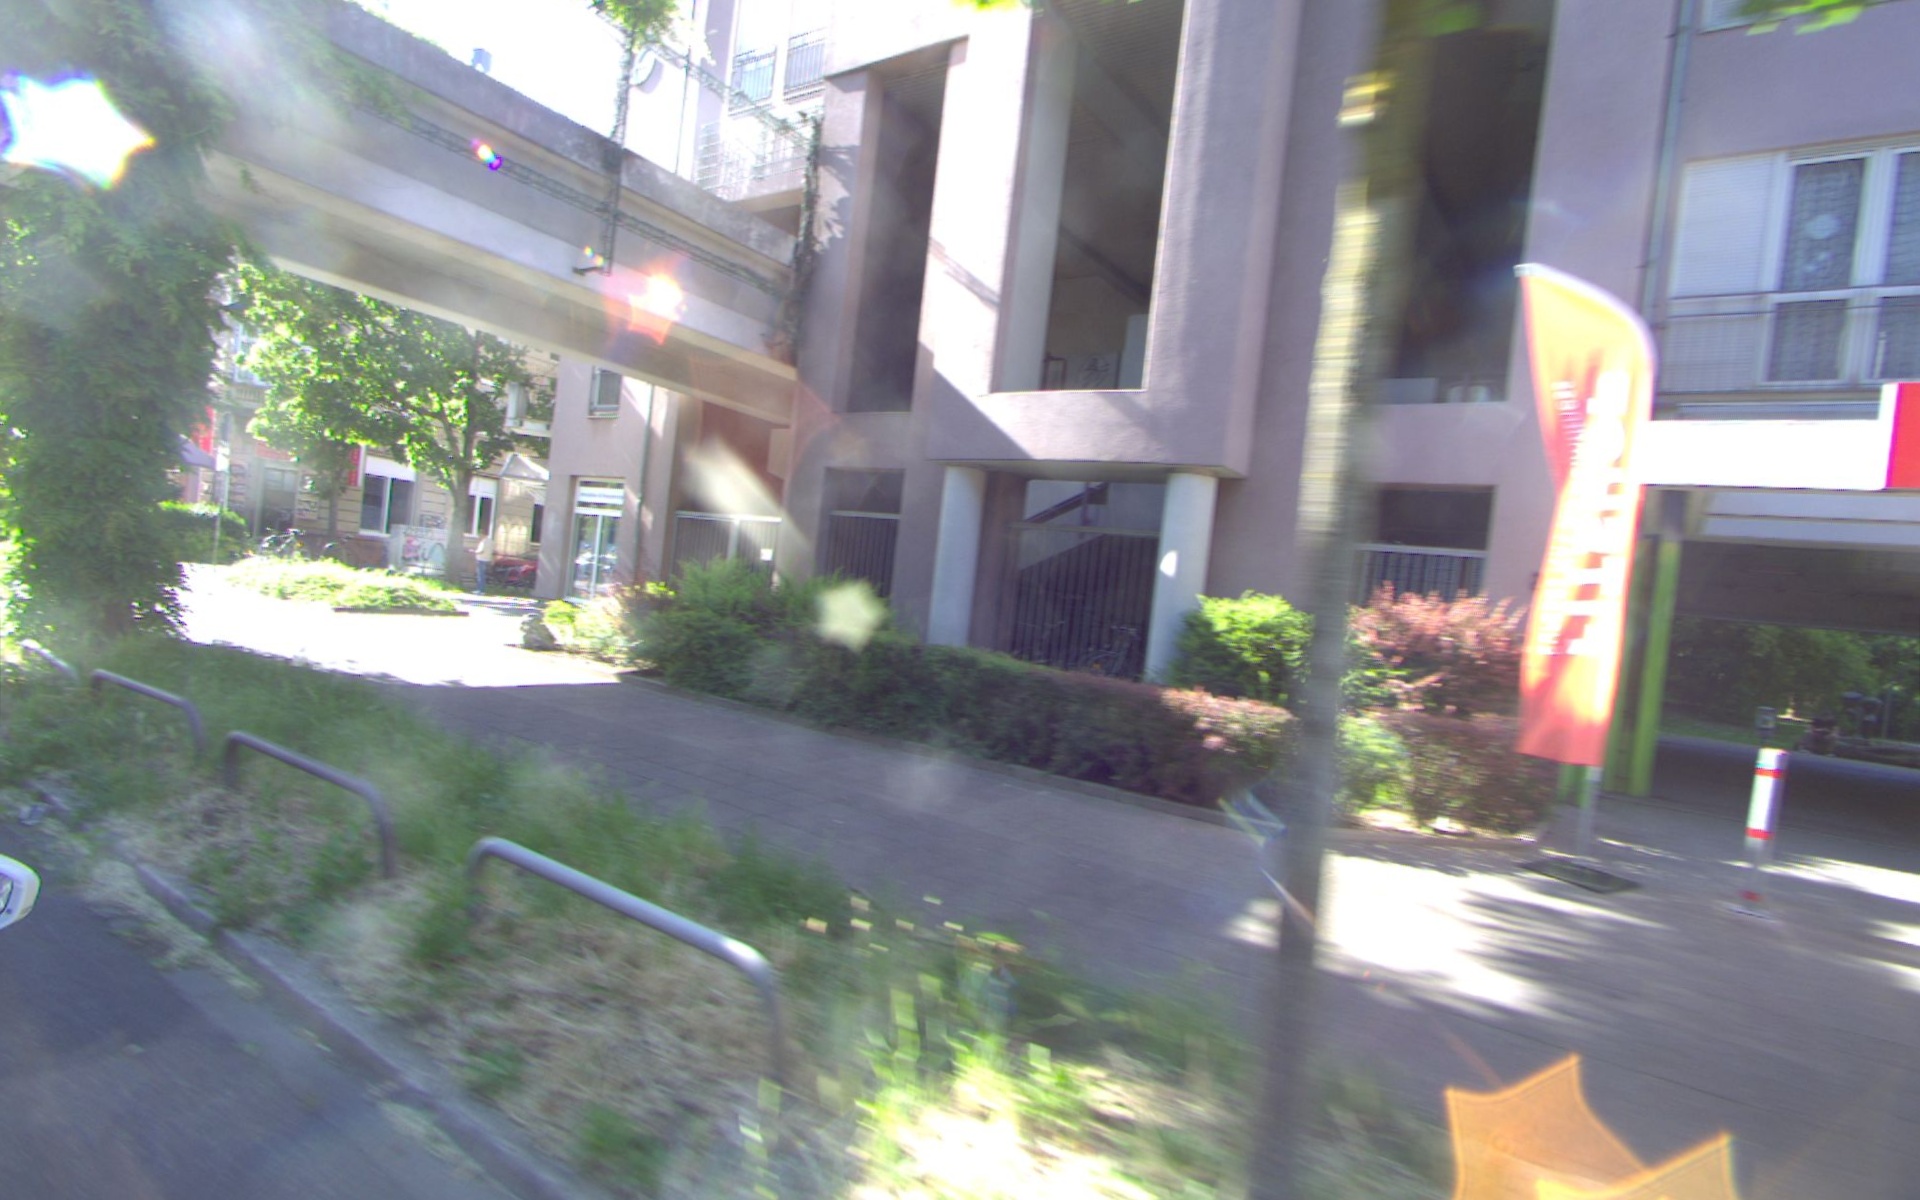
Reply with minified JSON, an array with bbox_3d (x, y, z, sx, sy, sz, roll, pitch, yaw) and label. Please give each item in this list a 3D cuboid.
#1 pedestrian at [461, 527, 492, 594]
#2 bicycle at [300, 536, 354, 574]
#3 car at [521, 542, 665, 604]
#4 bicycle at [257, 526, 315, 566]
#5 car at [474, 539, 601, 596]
[{"bbox_3d":[-12.038,-0.982,25.049,0.525,1.597,0.629,5,2,-30],"label":"pedestrian"},{"bbox_3d":[-19.050,-1.347,30.286,0.386,0.986,1.312,7,1,25],"label":"bicycle"},{"bbox_3d":[-11.069,-0.779,30.615,1.663,1.481,3.995,7,0,26],"label":"car"},{"bbox_3d":[-19.301,-1.539,28.822,0.386,0.986,1.312,7,1,25],"label":"bicycle"},{"bbox_3d":[-15.413,-1.156,36.911,1.747,1.458,3.999,10,0,25],"label":"car"}]
